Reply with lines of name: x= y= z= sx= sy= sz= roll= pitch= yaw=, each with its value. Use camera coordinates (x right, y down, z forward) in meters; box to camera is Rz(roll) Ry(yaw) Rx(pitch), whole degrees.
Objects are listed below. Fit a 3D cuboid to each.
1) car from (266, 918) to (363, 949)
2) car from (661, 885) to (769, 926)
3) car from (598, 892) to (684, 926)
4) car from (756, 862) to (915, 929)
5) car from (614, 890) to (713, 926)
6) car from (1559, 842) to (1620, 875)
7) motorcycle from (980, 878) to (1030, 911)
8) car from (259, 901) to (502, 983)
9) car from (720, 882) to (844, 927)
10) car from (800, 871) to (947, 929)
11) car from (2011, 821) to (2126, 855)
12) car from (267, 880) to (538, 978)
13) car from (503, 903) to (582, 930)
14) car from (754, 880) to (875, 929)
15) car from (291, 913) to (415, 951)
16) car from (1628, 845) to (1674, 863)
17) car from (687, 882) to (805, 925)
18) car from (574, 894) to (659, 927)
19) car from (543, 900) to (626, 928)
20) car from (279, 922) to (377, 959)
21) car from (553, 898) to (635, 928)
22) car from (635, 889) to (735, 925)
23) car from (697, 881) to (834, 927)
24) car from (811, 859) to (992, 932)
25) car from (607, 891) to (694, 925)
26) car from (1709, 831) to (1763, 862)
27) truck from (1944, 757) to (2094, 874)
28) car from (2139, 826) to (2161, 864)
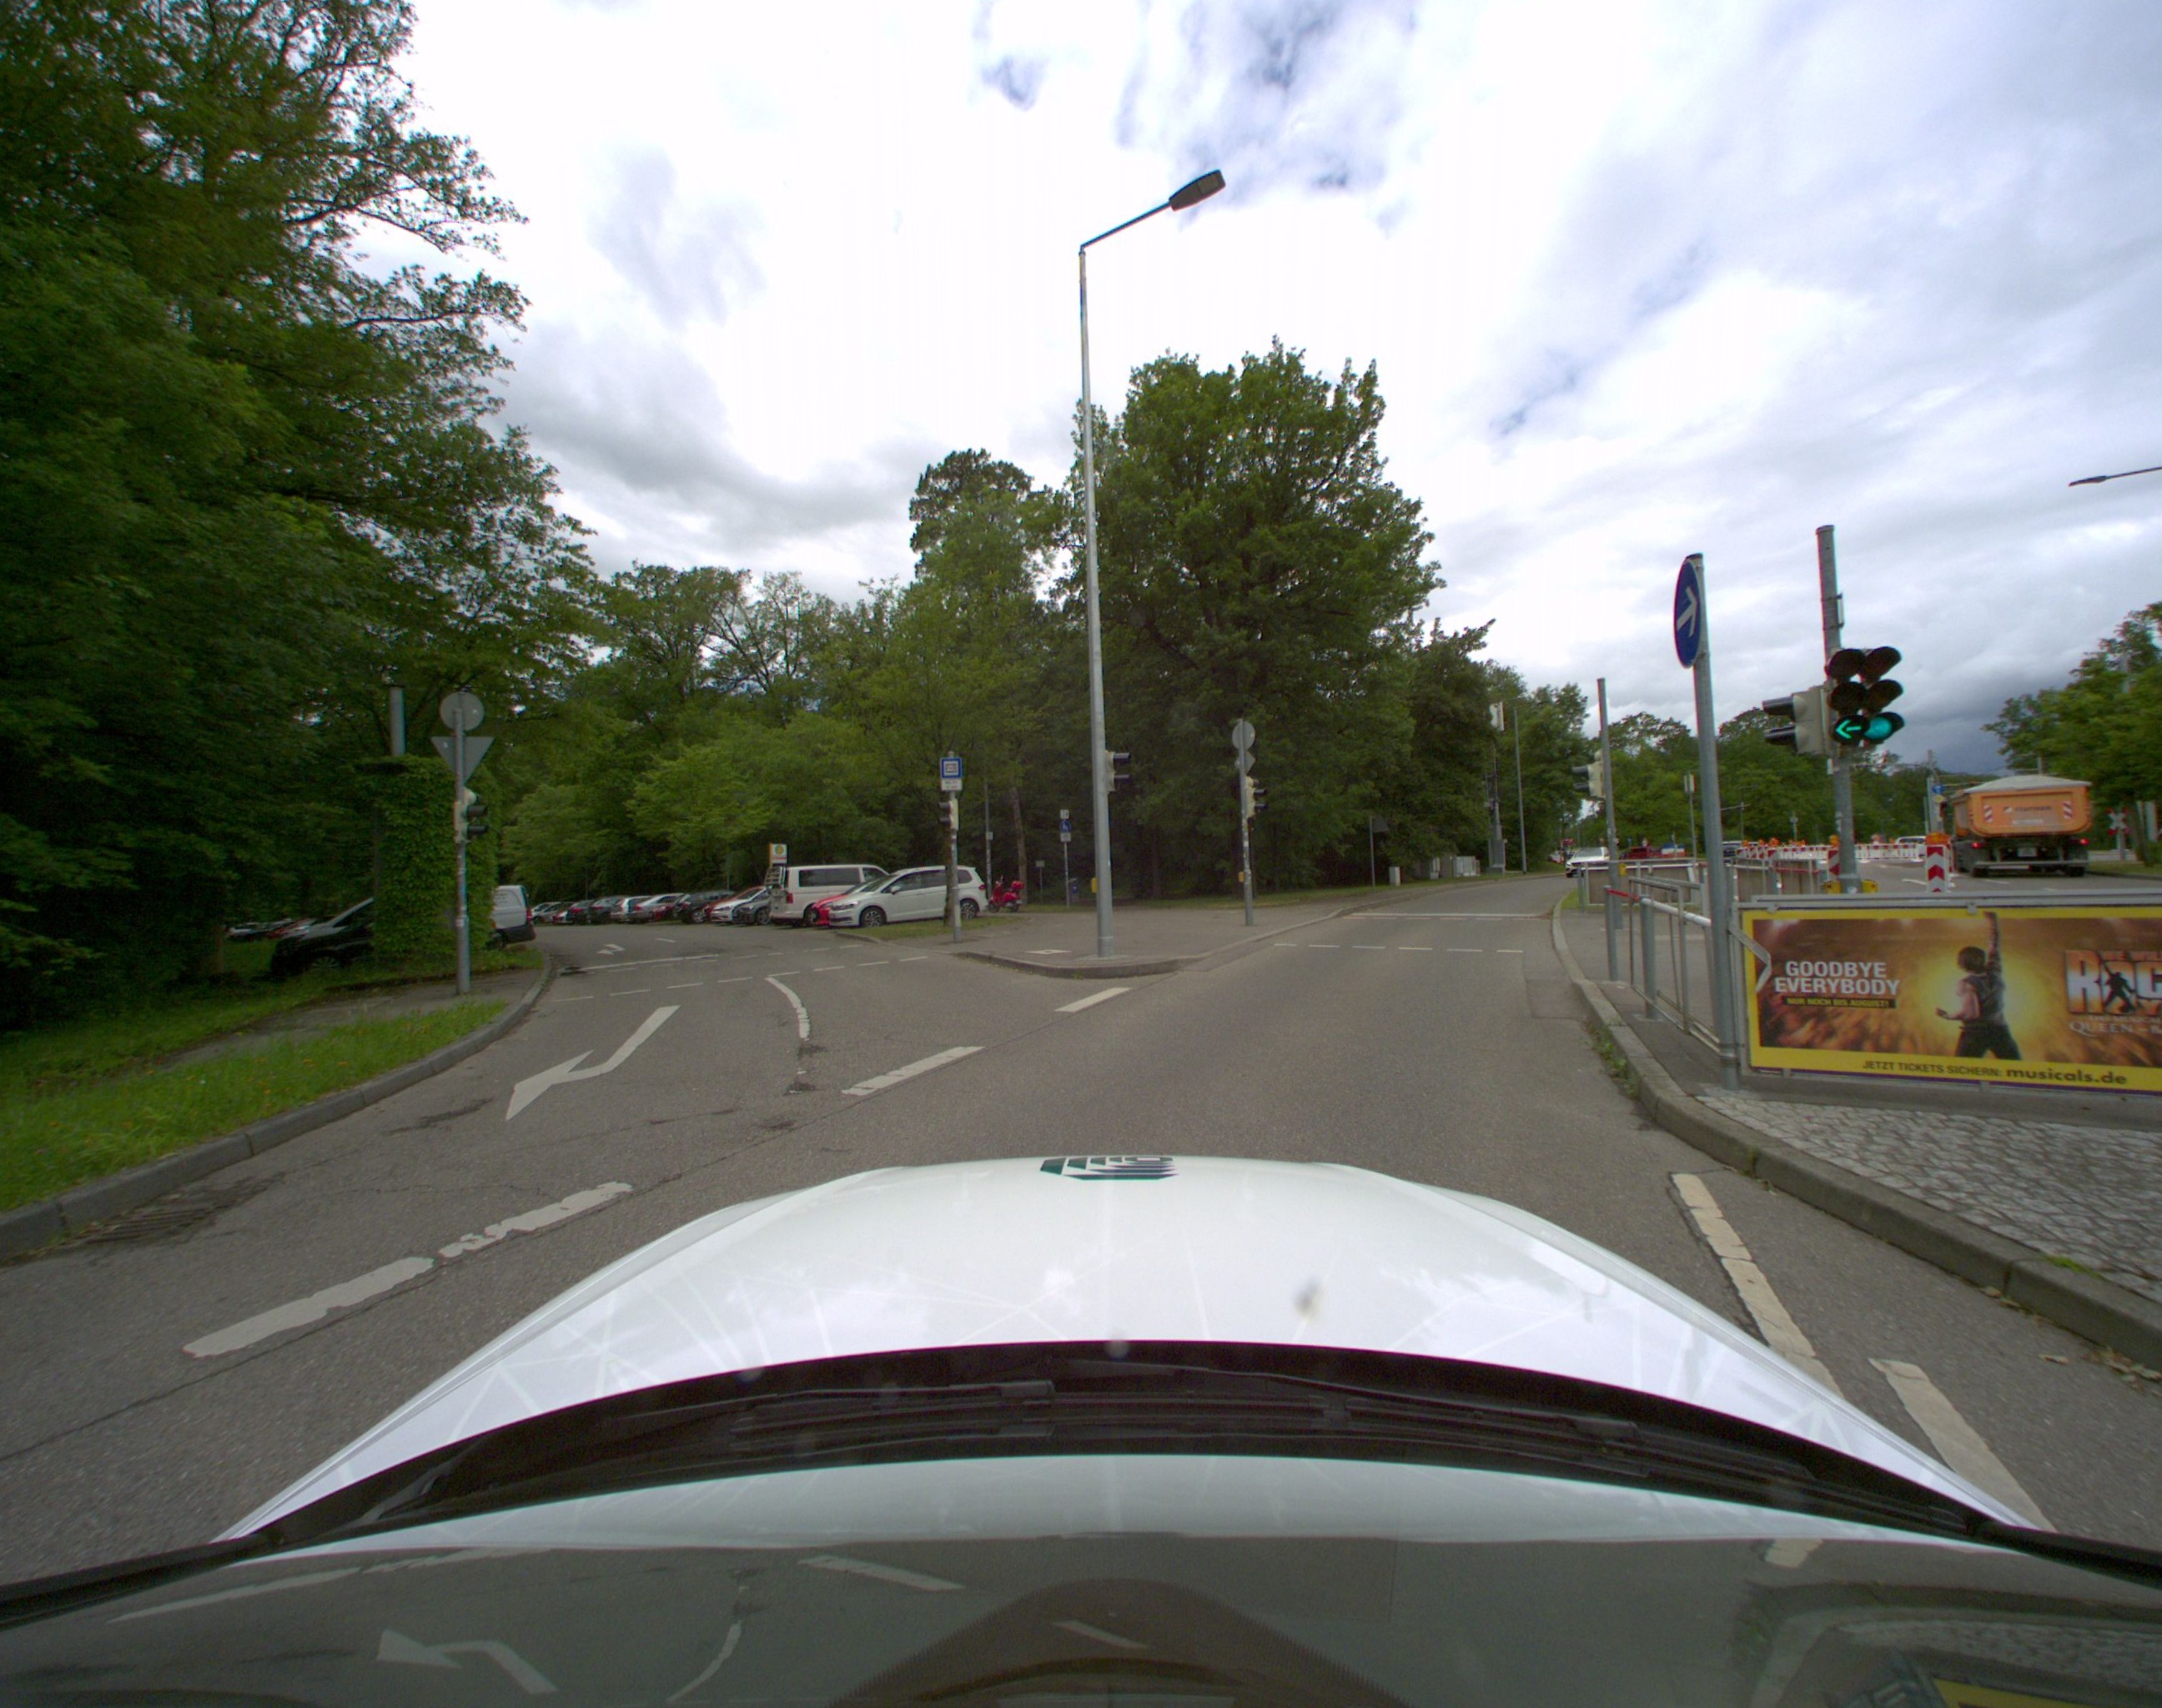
car: x=-45.287 y=4.677 z=48.171 sx=1.872 sy=1.421 sz=3.840 roll=-5 pitch=-1 yaw=35
car: x=-16.487 y=2.295 z=36.764 sx=4.023 sy=1.483 sz=1.898 roll=-3 pitch=-2 yaw=-42
car: x=-24.678 y=3.055 z=45.753 sx=1.708 sy=1.546 sz=3.879 roll=-5 pitch=-2 yaw=41
car: x=-8.212 y=1.333 z=27.447 sx=4.687 sy=2.021 sz=2.059 roll=0 pitch=-2 yaw=-39
car: x=-21.667 y=2.807 z=42.340 sx=4.165 sy=1.461 sz=1.842 roll=-3 pitch=-2 yaw=-45
car: x=28.788 y=0.251 z=46.044 sx=1.975 sy=1.750 sz=4.606 roll=-2 pitch=-1 yaw=43
motorcycle: x=-2.833 y=1.505 z=30.088 sx=1.986 sy=1.160 sz=0.681 roll=-4 pitch=-1 yaw=45
car: x=-15.735 y=1.915 z=18.563 sx=4.020 sy=1.379 sz=1.702 roll=-2 pitch=-1 yaw=-39
car: x=-11.423 y=1.927 z=31.209 sx=4.021 sy=1.483 sz=1.855 roll=0 pitch=-4 yaw=-41
car: x=-6.467 y=1.393 z=25.420 sx=4.025 sy=1.555 sz=1.926 roll=-1 pitch=-2 yaw=-33
car: x=59.917 y=-0.942 z=49.507 sx=1.998 sy=1.882 sz=3.977 roll=-1 pitch=-1 yaw=-17
car: x=-17.285 y=1.823 z=21.128 sx=5.128 sy=1.915 sz=1.955 roll=-3 pitch=-1 yaw=-38
car: x=-36.543 y=4.198 z=55.326 sx=1.859 sy=1.484 sz=4.015 roll=-4 pitch=-1 yaw=36
car: x=-9.685 y=1.784 z=29.698 sx=3.754 sy=1.555 sz=1.824 roll=0 pitch=-1 yaw=-41
car: x=-39.052 y=4.147 z=43.793 sx=2.068 sy=1.478 sz=4.684 roll=-5 pitch=-1 yaw=40
car: x=63.537 y=0.047 z=90.884 sx=1.992 sy=1.882 sz=3.990 roll=-1 pitch=-1 yaw=-7
car: x=-14.427 y=2.124 z=35.220 sx=4.266 sy=1.480 sz=1.896 roll=-2 pitch=-2 yaw=-43
car: x=-26.774 y=3.252 z=46.972 sx=1.924 sy=1.589 sz=3.804 roll=-4 pitch=-2 yaw=43
car: x=-30.809 y=3.689 z=50.590 sx=1.854 sy=1.411 sz=3.970 roll=-4 pitch=-1 yaw=40
car: x=-43.016 y=4.902 z=46.589 sx=3.996 sy=1.628 sz=1.974 roll=-4 pitch=-1 yaw=-43
car: x=-28.966 y=3.515 z=48.535 sx=1.751 sy=1.481 sz=3.805 roll=-4 pitch=-1 yaw=38
car: x=-19.689 y=2.635 z=40.597 sx=1.916 sy=1.450 sz=4.024 roll=-5 pitch=-2 yaw=43
car: x=-12.760 y=1.976 z=33.140 sx=4.812 sy=1.476 sz=1.831 roll=-3 pitch=-1 yaw=-40
car: x=-5.108 y=1.149 z=23.383 sx=4.553 sy=1.693 sz=2.142 roll=-3 pitch=-2 yaw=-34
car: x=-23.249 y=2.918 z=44.084 sx=1.729 sy=1.511 sz=3.736 roll=-6 pitch=-2 yaw=44
car: x=38.745 y=-0.445 z=48.151 sx=4.023 sy=1.717 sz=1.975 roll=0 pitch=-1 yaw=-44
truck: x=32.832 y=-1.274 z=28.833 sx=8.296 sy=3.514 sz=2.832 roll=-2 pitch=-1 yaw=-44
car: x=59.435 y=-0.536 z=42.157 sx=1.991 sy=2.014 sz=5.423 roll=-1 pitch=-1 yaw=-6
